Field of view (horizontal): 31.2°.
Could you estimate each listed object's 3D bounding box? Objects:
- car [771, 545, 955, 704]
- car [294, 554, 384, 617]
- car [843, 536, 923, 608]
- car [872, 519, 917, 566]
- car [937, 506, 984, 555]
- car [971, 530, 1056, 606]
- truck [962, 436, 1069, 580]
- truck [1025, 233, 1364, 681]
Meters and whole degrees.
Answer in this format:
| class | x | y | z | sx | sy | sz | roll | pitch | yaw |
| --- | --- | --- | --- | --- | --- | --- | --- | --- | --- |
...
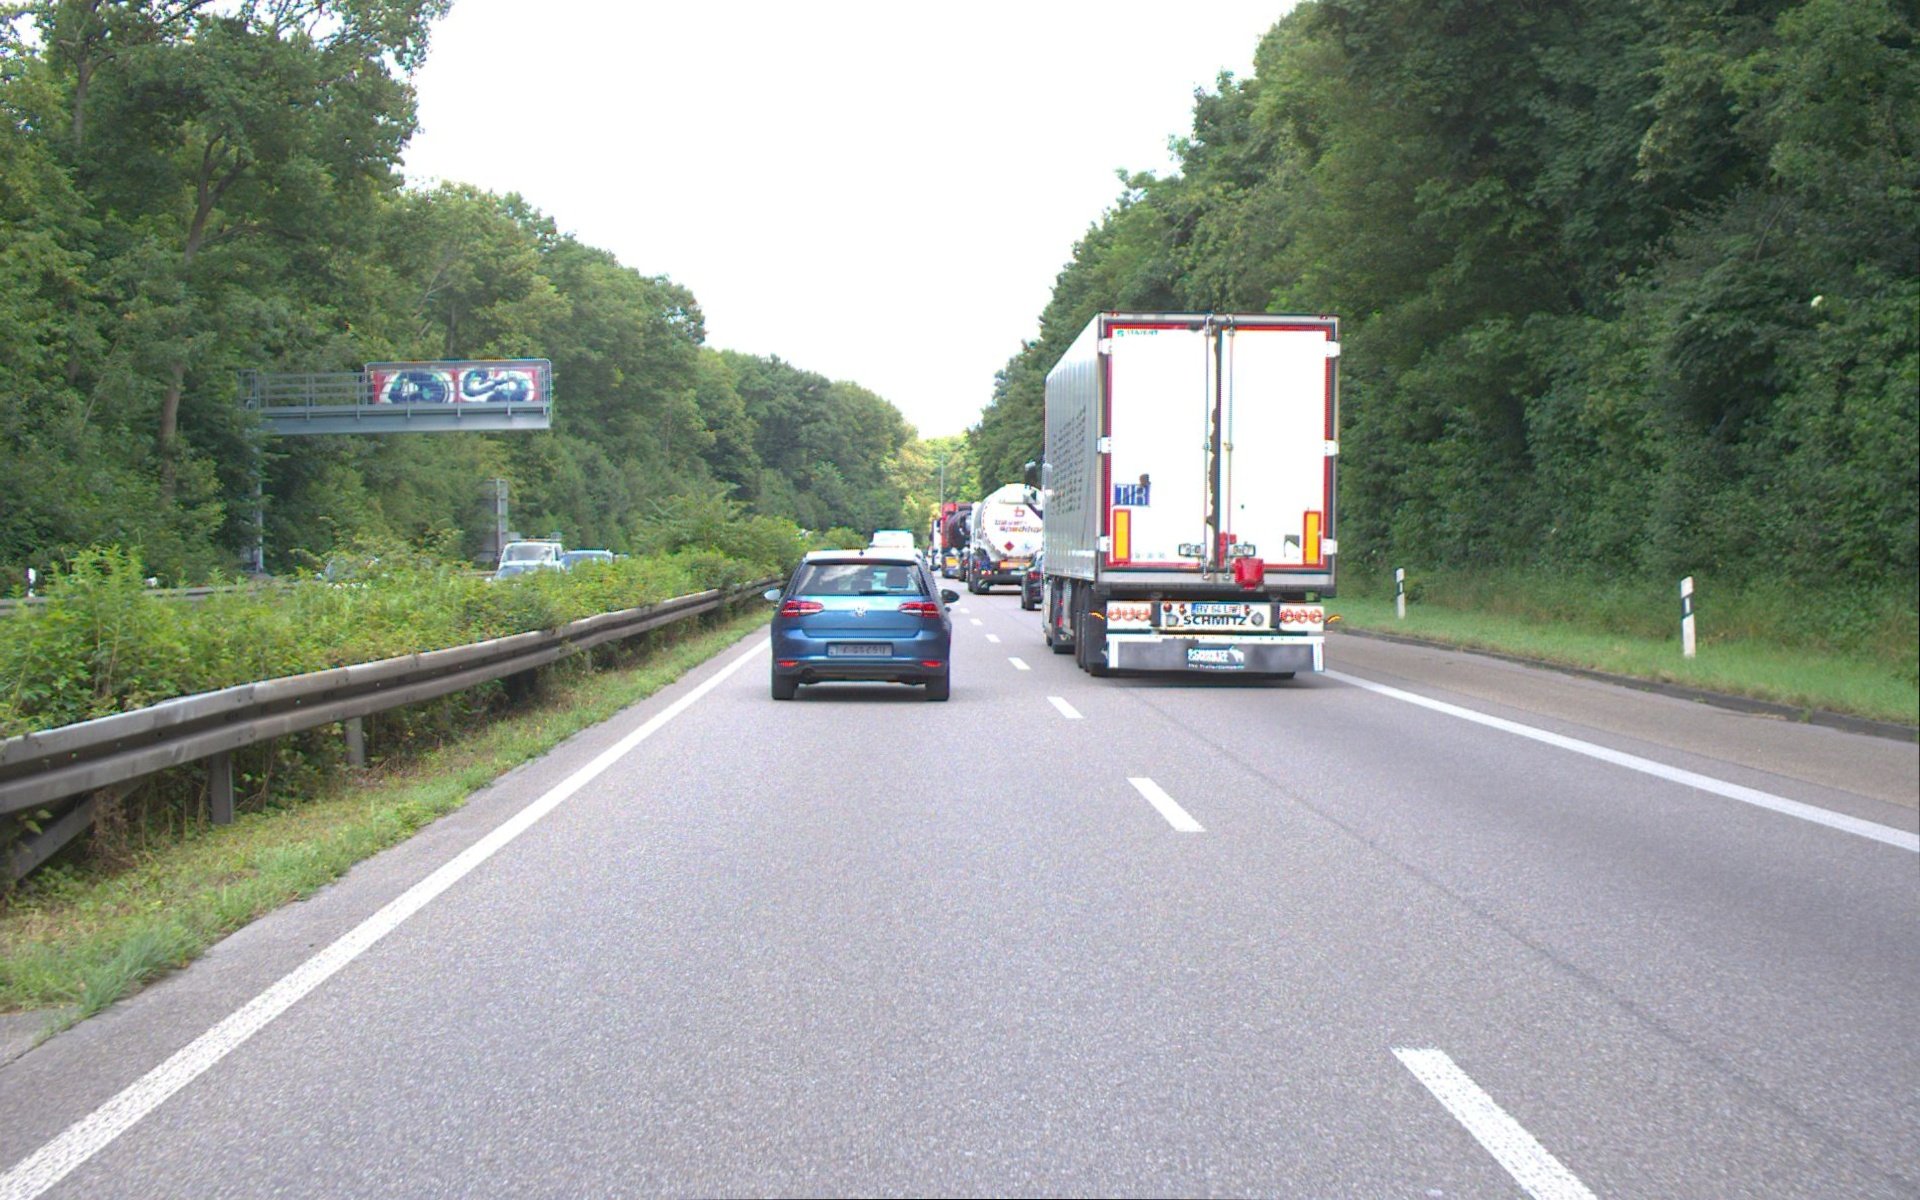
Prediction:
| class | x | y | z | sx | sy | sz | roll | pitch | yaw |
| --- | --- | --- | --- | --- | --- | --- | --- | --- | --- |
| car | -0.965 | 0.199 | 34.409 | 1.705 | 1.465 | 4.000 | 1 | 1 | -1 |
| car | -14.515 | -0.352 | 80.443 | 1.537 | 1.391 | 3.511 | -1 | 1 | -1 |
| car | -1.625 | -0.625 | 73.954 | 1.665 | 1.495 | 4.152 | 0 | 1 | -1 |
| car | -3.251 | -2.848 | 169.278 | 1.993 | 2.247 | 4.443 | -1 | 1 | -3 |
| car | 0.026 | -3.385 | 166.927 | 1.993 | 2.319 | 4.443 | -1 | 1 | -3 |
| car | 1.249 | -0.781 | 81.617 | 1.888 | 1.723 | 4.000 | -1 | 1 | -1 |
| truck | 1.691 | -2.859 | 111.317 | 3.232 | 4.371 | 12.971 | 0 | 0 | 0 |
| truck | 2.581 | -1.623 | 41.791 | 3.242 | 4.700 | 11.007 | -1 | 1 | 0 |
